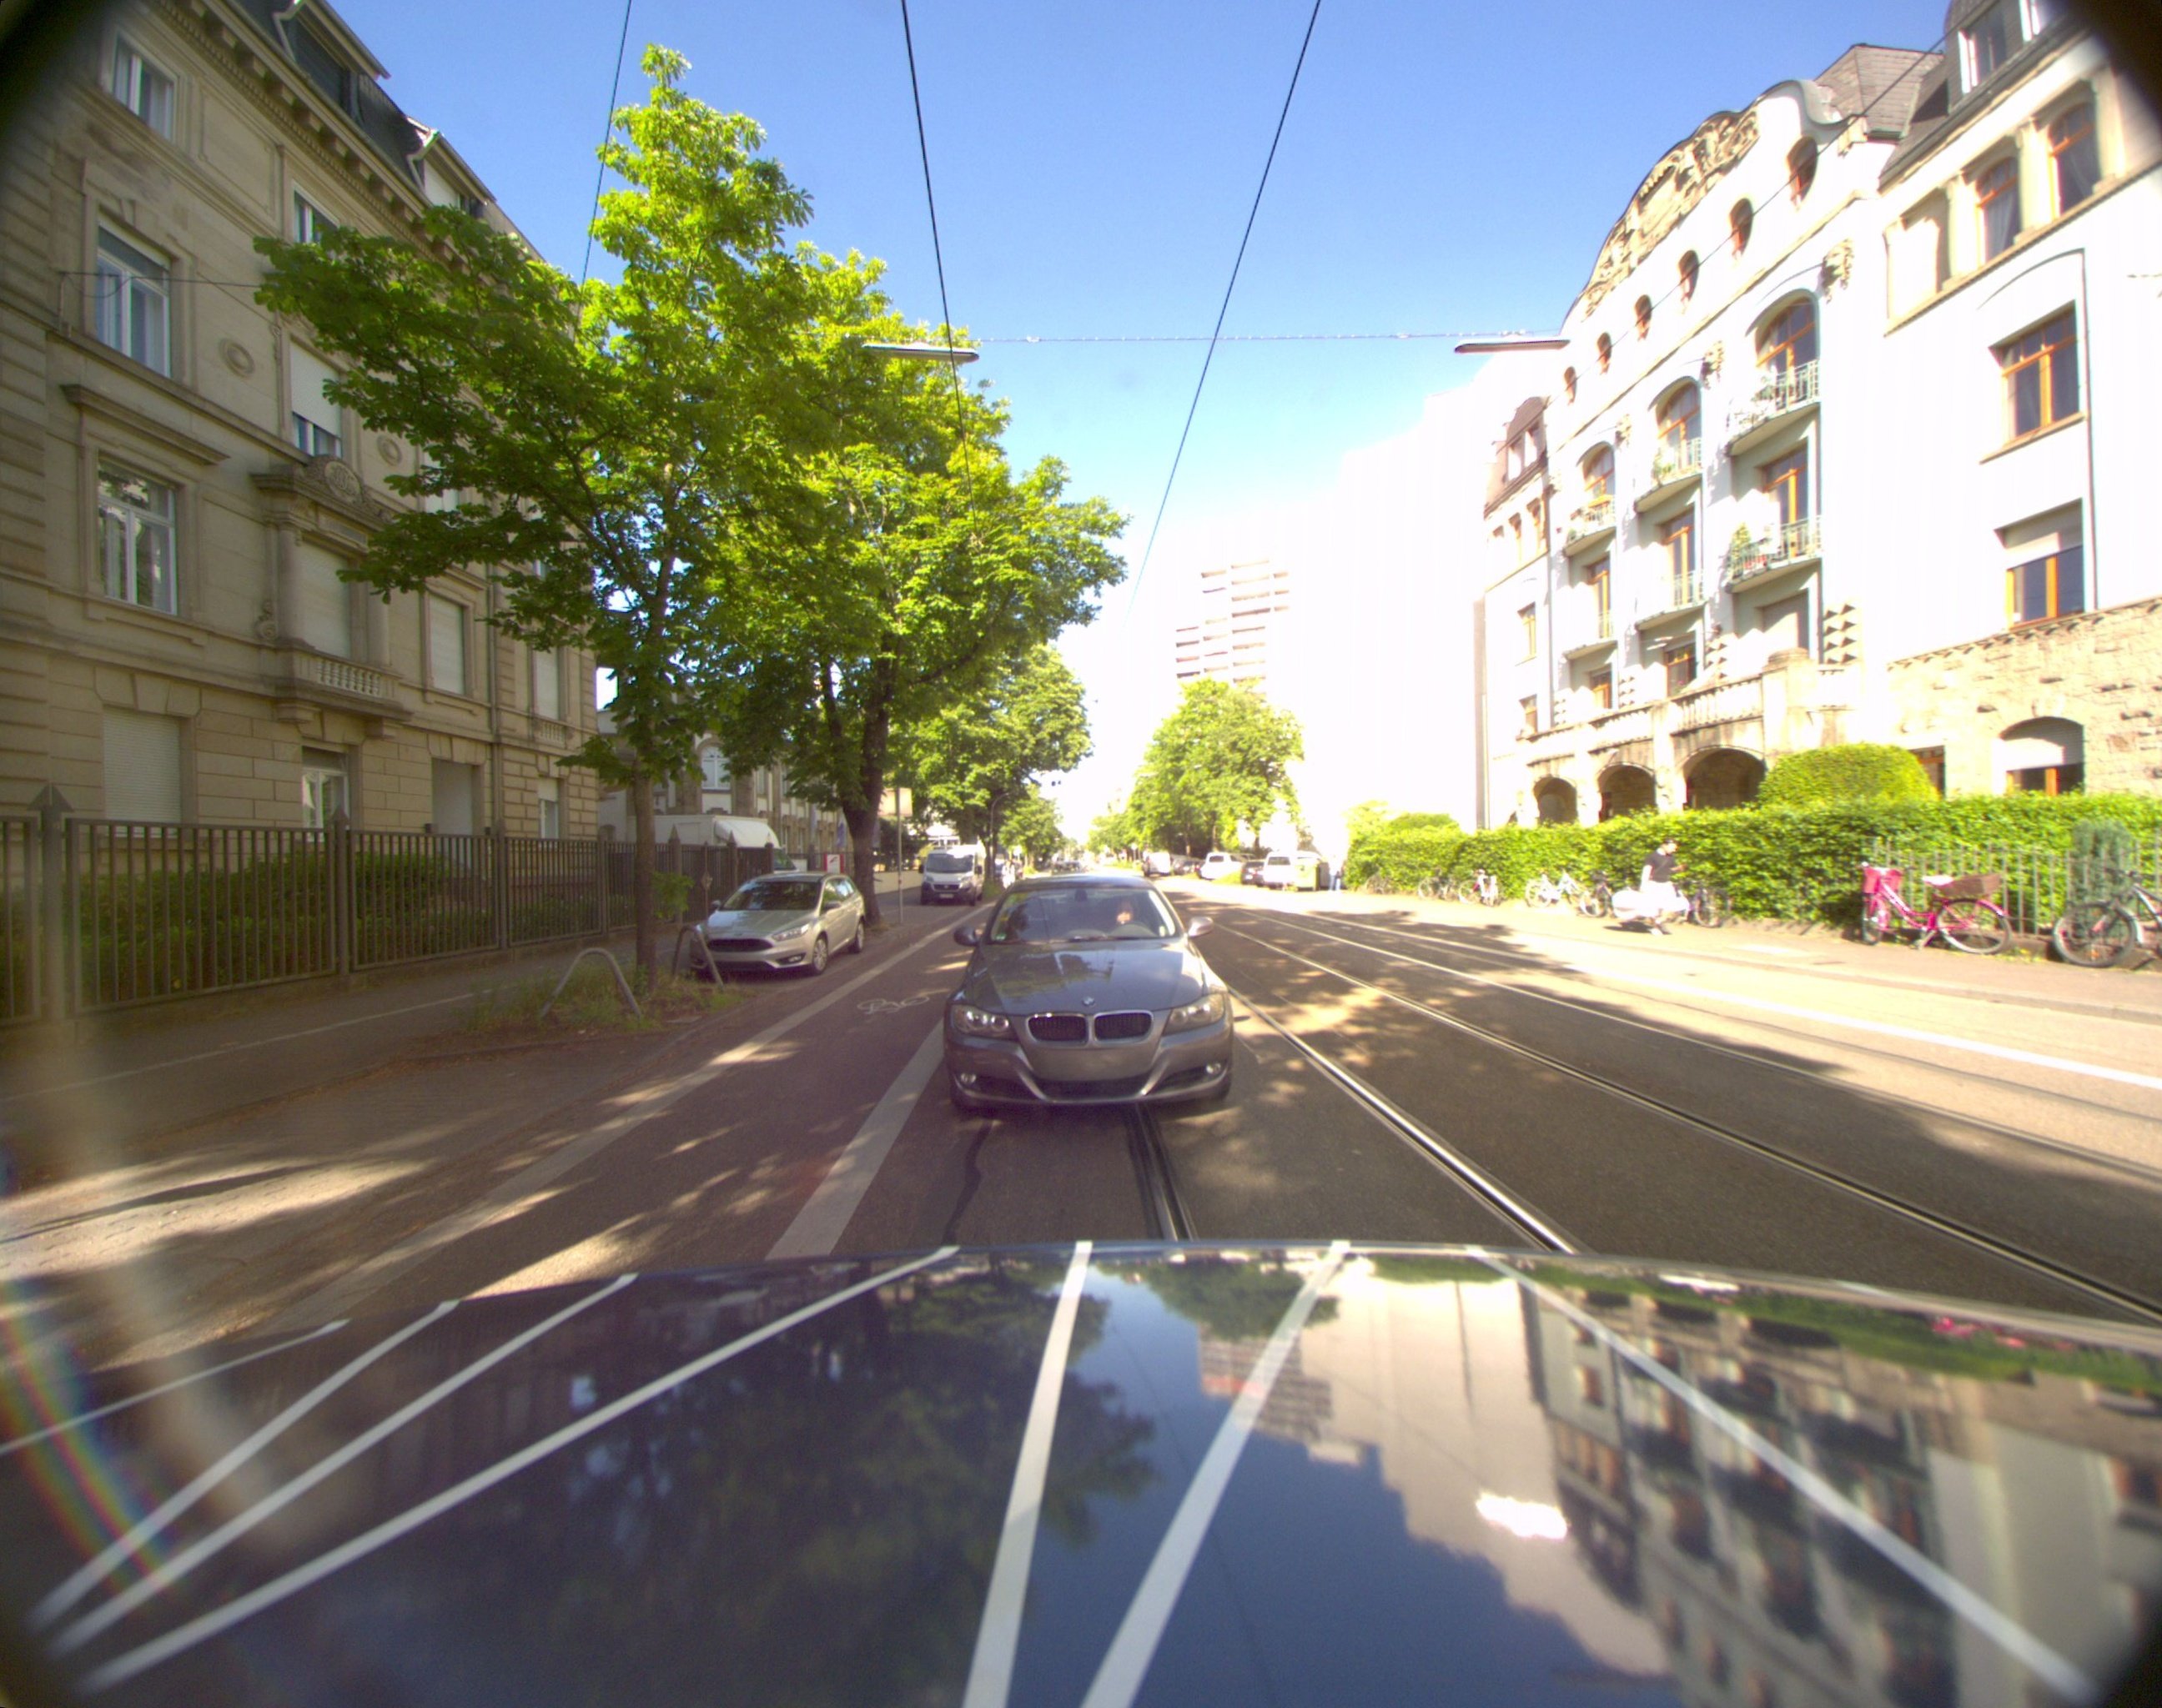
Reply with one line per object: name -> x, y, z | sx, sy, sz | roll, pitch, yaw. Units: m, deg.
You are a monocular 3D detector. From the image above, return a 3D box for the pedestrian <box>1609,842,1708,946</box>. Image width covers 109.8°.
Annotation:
pedestrian -> 9.787, 0.654, 12.915 | 0.869, 1.619, 0.870 | -6, 1, 1

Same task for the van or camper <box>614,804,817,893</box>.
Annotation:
van or camper -> -12.167, -0.136, 25.187 | 6.721, 2.612, 2.126 | -2, 1, 24

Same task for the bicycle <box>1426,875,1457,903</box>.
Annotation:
bicycle -> 10.761, 1.038, 22.702 | 0.297, 0.757, 1.263 | -2, 1, 1

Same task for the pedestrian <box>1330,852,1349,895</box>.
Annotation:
pedestrian -> 9.933, 0.728, 29.211 | 0.475, 1.619, 0.659 | -2, 1, 1

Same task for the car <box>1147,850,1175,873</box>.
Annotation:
car -> 6.996, 0.623, 66.009 | 1.997, 1.893, 4.003 | -2, 1, 11

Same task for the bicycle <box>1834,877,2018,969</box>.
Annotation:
bicycle -> 11.009, 0.857, 9.998 | 0.405, 1.018, 1.816 | -2, 1, 1

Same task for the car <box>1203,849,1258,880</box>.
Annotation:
car -> 9.898, 0.684, 50.115 | 3.450, 1.860, 1.918 | -3, 1, -44

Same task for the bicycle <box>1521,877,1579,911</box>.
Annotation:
bicycle -> 11.788, 1.004, 19.103 | 1.262, 0.789, 0.297 | -2, 1, 1

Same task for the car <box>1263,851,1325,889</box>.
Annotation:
car -> 10.295, 0.776, 36.646 | 3.194, 1.763, 1.456 | 1, -2, -45

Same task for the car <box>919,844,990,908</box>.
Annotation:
car -> -4.981, 0.774, 30.781 | 2.132, 2.329, 5.803 | 0, 1, -3

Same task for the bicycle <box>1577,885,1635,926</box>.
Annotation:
bicycle -> 10.989, 1.062, 15.931 | 0.339, 0.757, 1.263 | -2, 1, 1

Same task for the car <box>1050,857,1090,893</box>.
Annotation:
car -> -0.512, 1.016, 37.930 | 1.828, 1.559, 3.999 | -2, 1, 1

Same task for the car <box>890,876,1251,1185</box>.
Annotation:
car -> -0.028, 1.002, 6.042 | 1.869, 1.426, 3.999 | -2, 1, 1

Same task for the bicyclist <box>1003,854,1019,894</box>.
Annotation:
bicyclist -> -3.015, 0.856, 32.916 | 0.532, 1.660, 0.878 | -2, 1, 1

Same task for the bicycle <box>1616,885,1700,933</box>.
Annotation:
bicycle -> 10.913, 1.015, 14.426 | 0.405, 0.757, 1.581 | -2, 1, 1

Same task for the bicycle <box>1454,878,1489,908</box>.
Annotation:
bicycle -> 10.739, 1.059, 20.911 | 0.318, 0.757, 1.263 | -2, 1, 1

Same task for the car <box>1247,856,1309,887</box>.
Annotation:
car -> 10.265, 0.894, 39.657 | 2.757, 1.427, 1.458 | -2, 1, -16

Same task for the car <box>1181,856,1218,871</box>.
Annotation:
car -> 9.764, 0.805, 62.696 | 2.757, 1.083, 1.226 | -2, 1, -16

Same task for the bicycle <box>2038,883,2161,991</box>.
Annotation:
bicycle -> 11.071, 0.858, 7.727 | 0.405, 1.018, 1.816 | -2, 1, 1

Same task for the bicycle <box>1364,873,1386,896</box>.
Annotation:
bicycle -> 10.629, 1.101, 27.455 | 0.297, 0.757, 1.263 | -2, 1, 1

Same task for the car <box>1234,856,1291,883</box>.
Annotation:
car -> 10.262, 0.857, 43.024 | 2.757, 1.427, 1.458 | -2, 1, -16

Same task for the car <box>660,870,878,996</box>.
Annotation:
car -> -4.710, 1.094, 12.243 | 1.877, 1.534, 4.364 | 0, 1, -3

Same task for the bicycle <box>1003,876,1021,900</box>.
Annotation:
bicycle -> -2.988, 1.450, 32.986 | 0.535, 0.917, 2.057 | -2, 1, 1

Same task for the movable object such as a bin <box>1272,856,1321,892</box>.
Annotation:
movable object such as a bin -> 9.399, 0.849, 33.241 | 1.512, 1.424, 2.096 | -2, 1, 1

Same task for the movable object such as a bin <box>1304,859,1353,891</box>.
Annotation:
movable object such as a bin -> 11.114, 0.904, 34.210 | 1.501, 1.309, 2.096 | -2, 1, 1

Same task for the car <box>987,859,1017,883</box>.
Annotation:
car -> -5.537, 1.188, 53.761 | 1.866, 1.541, 4.101 | -2, 1, -3

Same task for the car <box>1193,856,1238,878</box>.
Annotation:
car -> 9.471, 0.911, 53.543 | 2.757, 1.427, 1.458 | -2, 1, -16

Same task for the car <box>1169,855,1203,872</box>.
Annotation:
car -> 9.668, 0.854, 69.897 | 2.757, 1.417, 1.226 | -2, 1, -16
